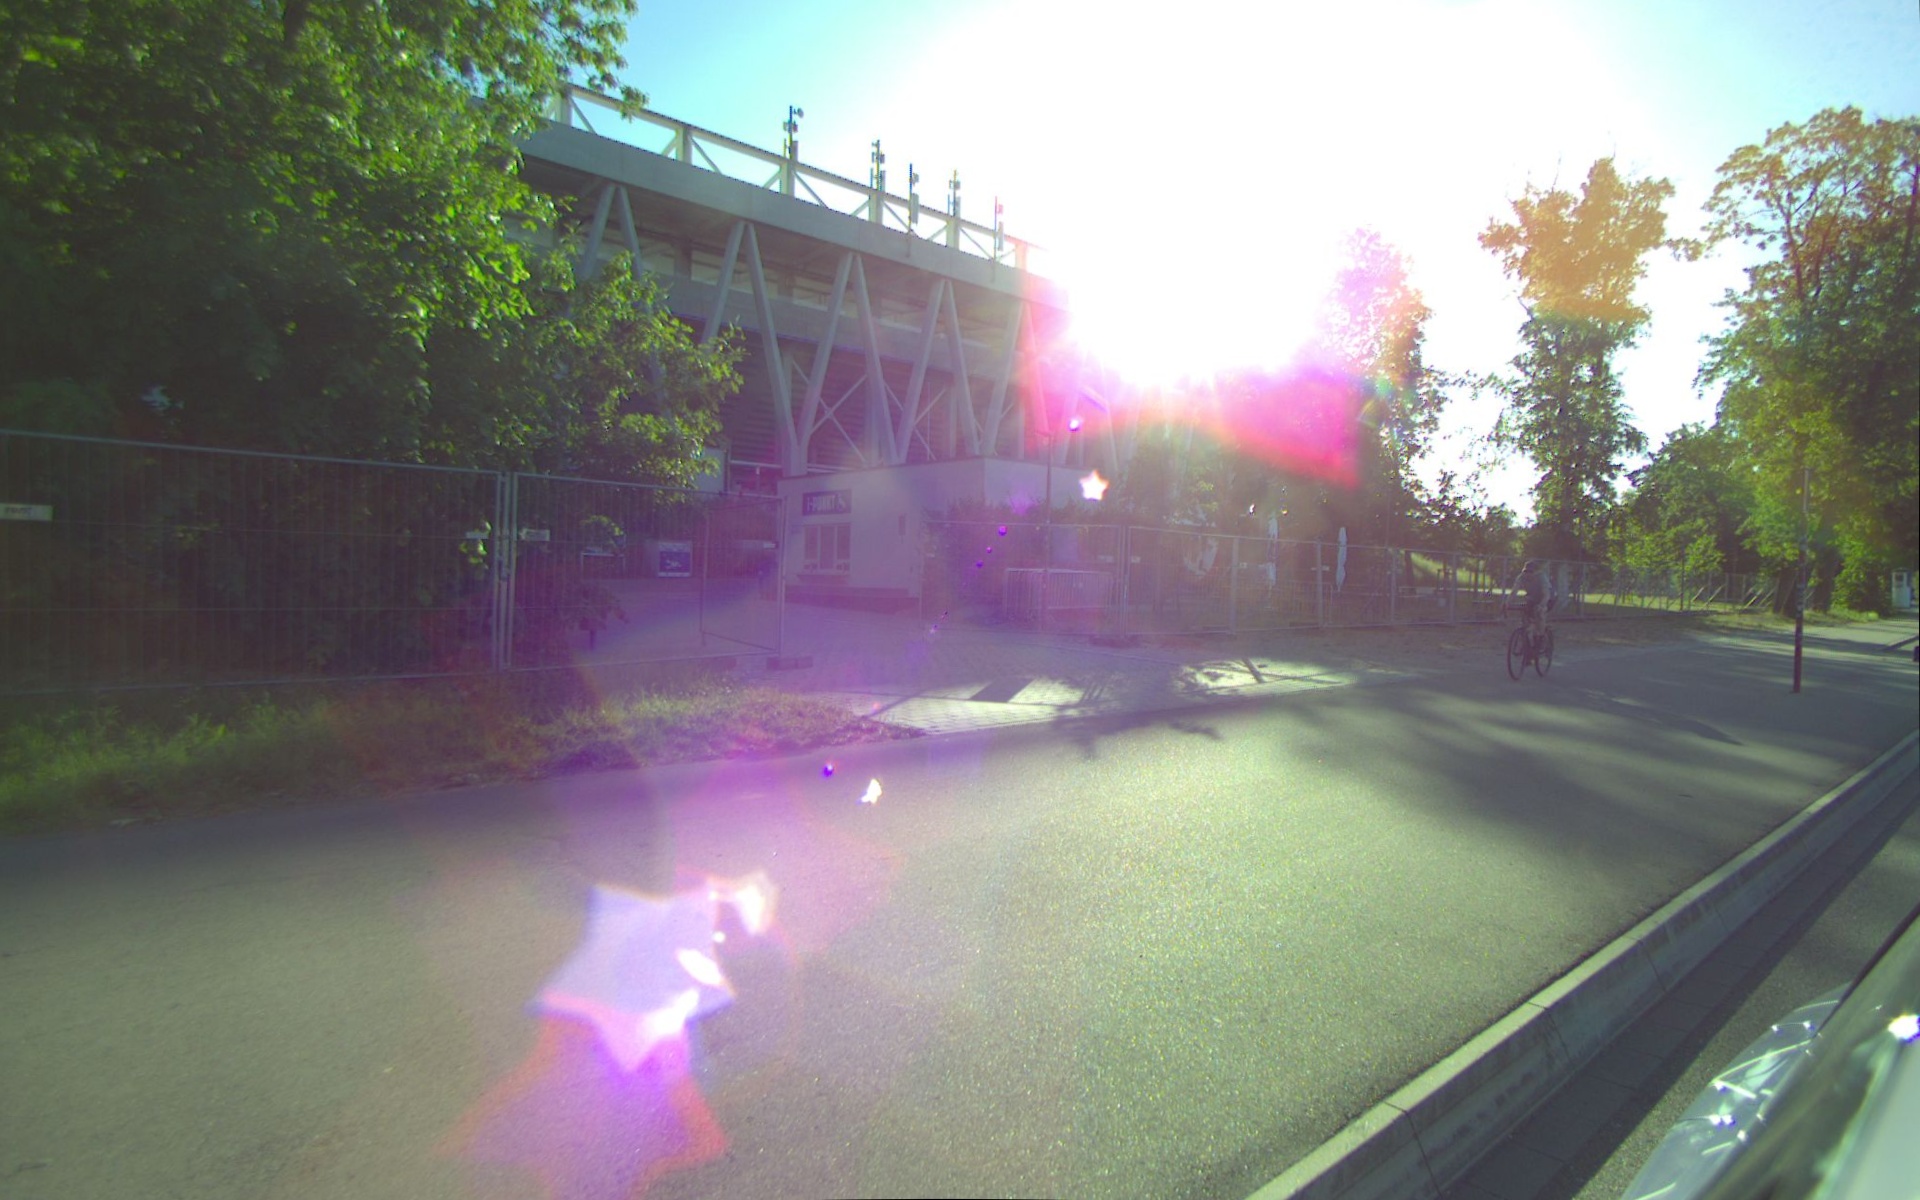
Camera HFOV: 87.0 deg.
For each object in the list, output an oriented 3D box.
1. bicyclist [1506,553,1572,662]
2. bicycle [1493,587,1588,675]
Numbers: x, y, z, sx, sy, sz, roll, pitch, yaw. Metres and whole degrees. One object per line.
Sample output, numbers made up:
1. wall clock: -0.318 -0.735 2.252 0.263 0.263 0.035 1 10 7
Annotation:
1. bicyclist: 8.190 0.093 14.313 0.846 1.487 0.521 0 2 -41
2. bicycle: 8.286 0.409 14.410 1.831 1.151 0.555 -1 3 -41
